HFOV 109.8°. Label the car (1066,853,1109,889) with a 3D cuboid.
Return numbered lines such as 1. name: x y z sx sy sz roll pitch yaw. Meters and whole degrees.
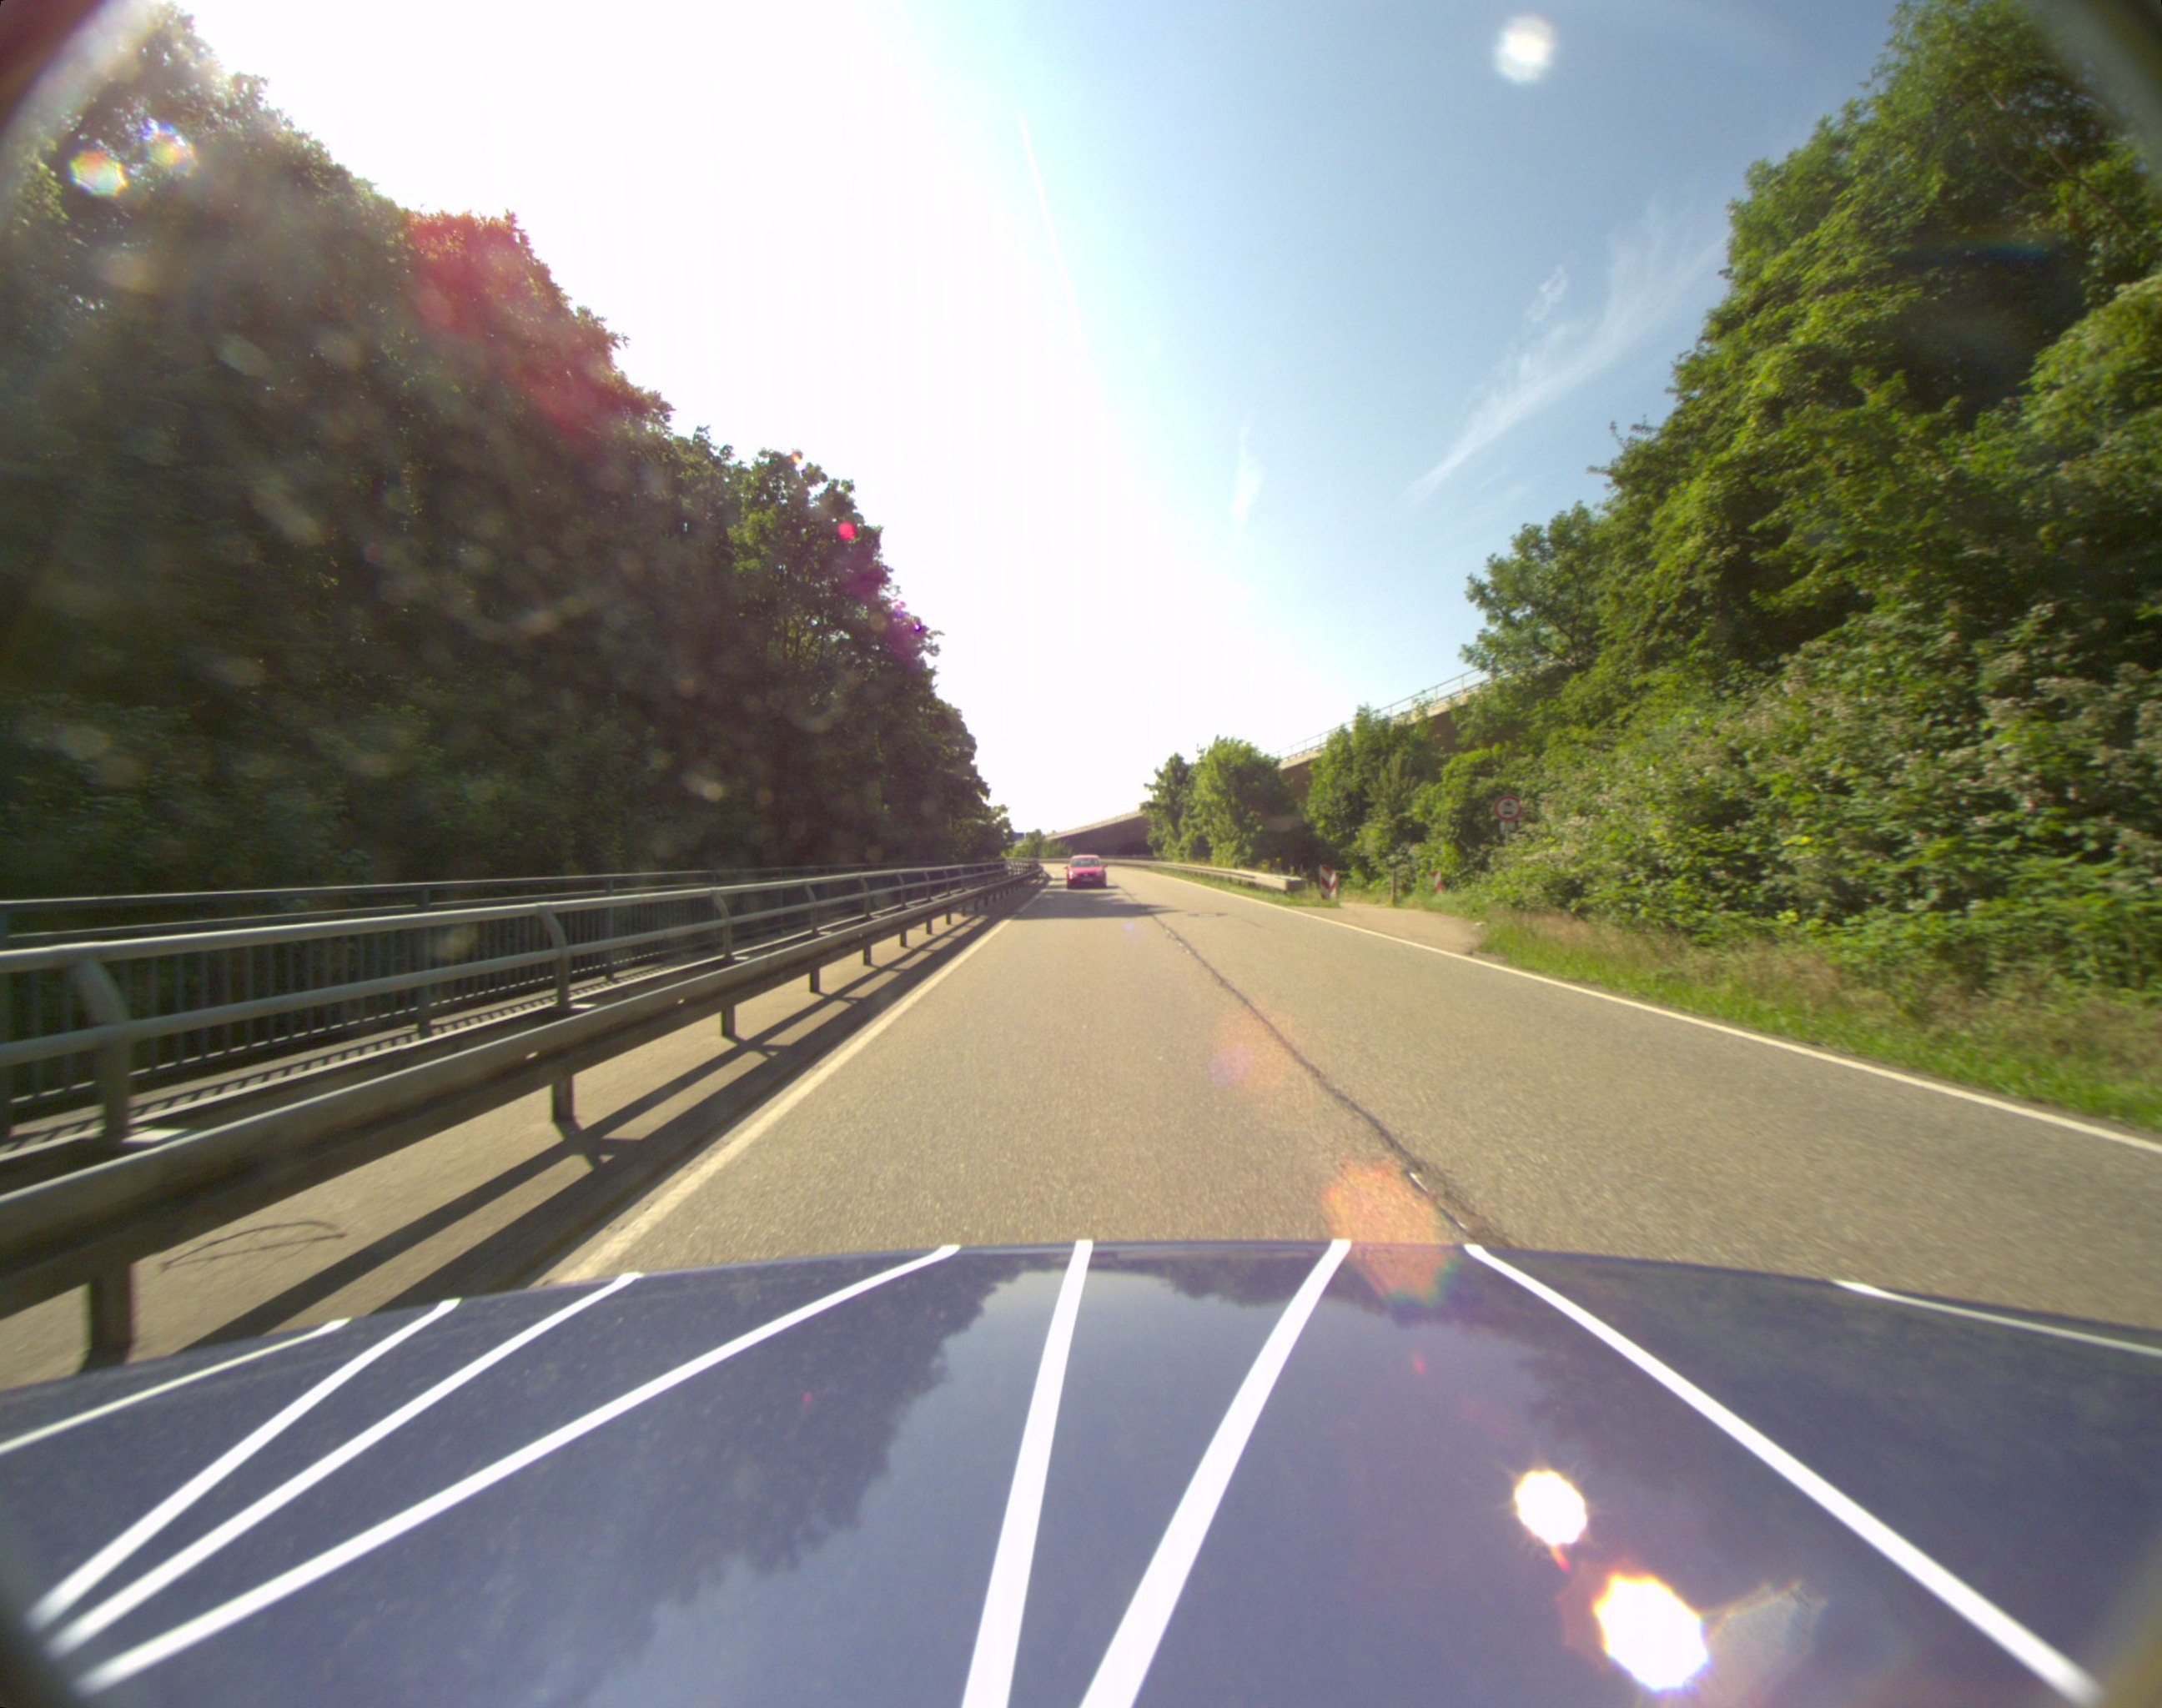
1. car: 0.272 0.749 35.154 1.816 1.488 4.285 -2 0 0
